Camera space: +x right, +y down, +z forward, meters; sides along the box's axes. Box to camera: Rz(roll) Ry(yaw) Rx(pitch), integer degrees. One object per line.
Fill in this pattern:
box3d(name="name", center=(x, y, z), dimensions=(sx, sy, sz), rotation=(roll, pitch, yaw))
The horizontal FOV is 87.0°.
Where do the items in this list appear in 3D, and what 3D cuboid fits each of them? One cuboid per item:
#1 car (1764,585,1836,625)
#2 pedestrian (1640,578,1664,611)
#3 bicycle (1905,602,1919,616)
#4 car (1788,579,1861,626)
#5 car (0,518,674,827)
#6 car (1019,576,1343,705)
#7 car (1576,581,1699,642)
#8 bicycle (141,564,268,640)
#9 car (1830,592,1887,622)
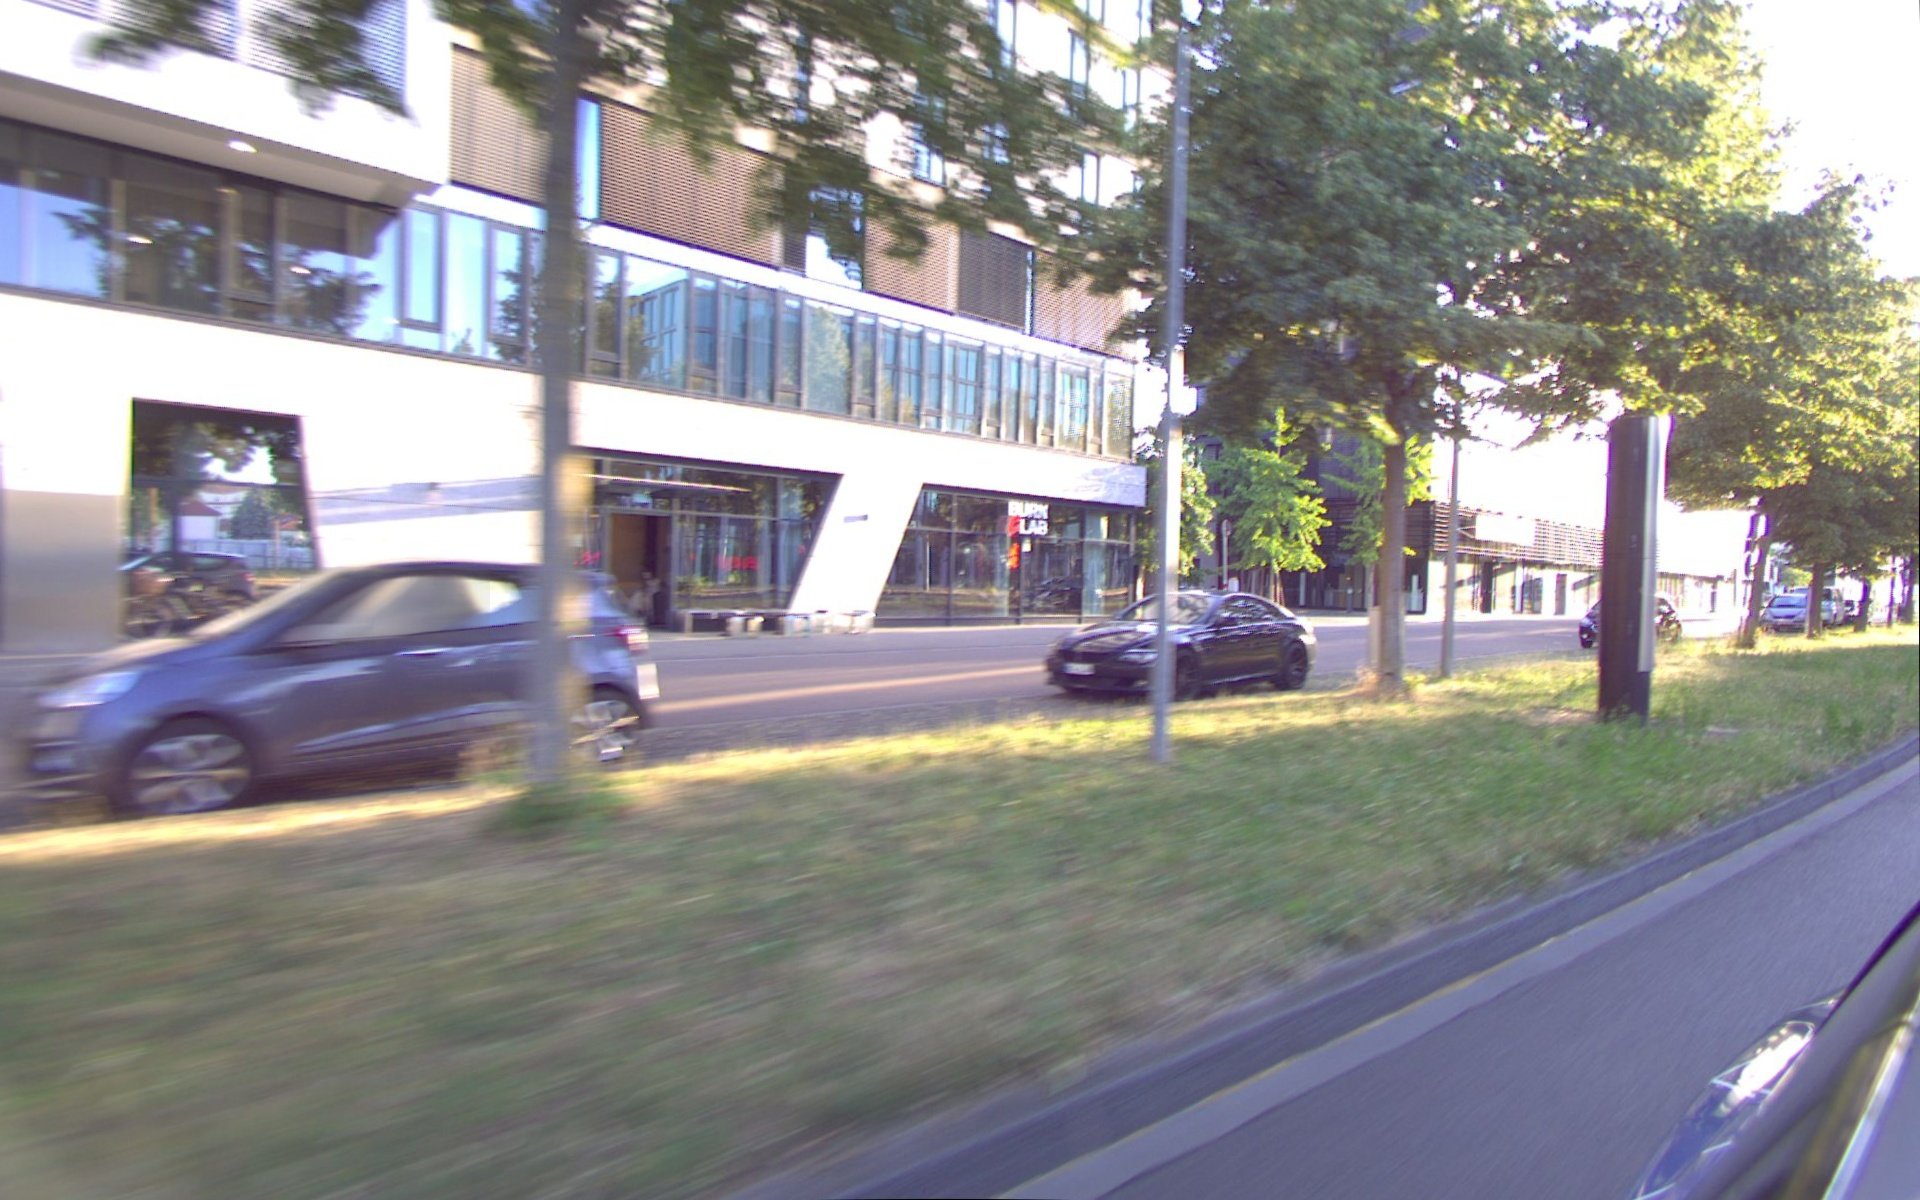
box3d(name="car", center=(35.581, 0.195, 42.827), dimensions=(3.992, 1.590, 1.841), rotation=(0, 1, -43))
box3d(name="pedestrian", center=(39.621, -0.329, 57.922), dimensions=(0.897, 1.819, 0.898), rotation=(1, 1, -43))
box3d(name="bicycle", center=(67.924, 0.645, 71.575), dimensions=(0.355, 0.921, 1.726), rotation=(2, 1, -9))
box3d(name="car", center=(39.898, 0.101, 46.660), dimensions=(4.848, 2.014, 1.989), rotation=(0, 1, -43))
box3d(name="car", center=(-4.039, 0.359, 6.865), dimensions=(3.695, 1.534, 1.711), rotation=(0, 0, -43))
box3d(name="car", center=(3.073, 0.421, 13.363), dimensions=(4.754, 1.384, 1.854), rotation=(0, 2, -44))
box3d(name="car", center=(18.024, 0.302, 26.857), dimensions=(3.931, 1.513, 1.783), rotation=(0, -1, -42))
box3d(name="bicycle", center=(-10.641, 0.028, 14.285), dimensions=(1.364, 1.040, 0.456), rotation=(1, 1, -15))
box3d(name="car", center=(49.247, 0.373, 55.442), dimensions=(4.957, 1.515, 1.919), rotation=(0, 1, -44))
